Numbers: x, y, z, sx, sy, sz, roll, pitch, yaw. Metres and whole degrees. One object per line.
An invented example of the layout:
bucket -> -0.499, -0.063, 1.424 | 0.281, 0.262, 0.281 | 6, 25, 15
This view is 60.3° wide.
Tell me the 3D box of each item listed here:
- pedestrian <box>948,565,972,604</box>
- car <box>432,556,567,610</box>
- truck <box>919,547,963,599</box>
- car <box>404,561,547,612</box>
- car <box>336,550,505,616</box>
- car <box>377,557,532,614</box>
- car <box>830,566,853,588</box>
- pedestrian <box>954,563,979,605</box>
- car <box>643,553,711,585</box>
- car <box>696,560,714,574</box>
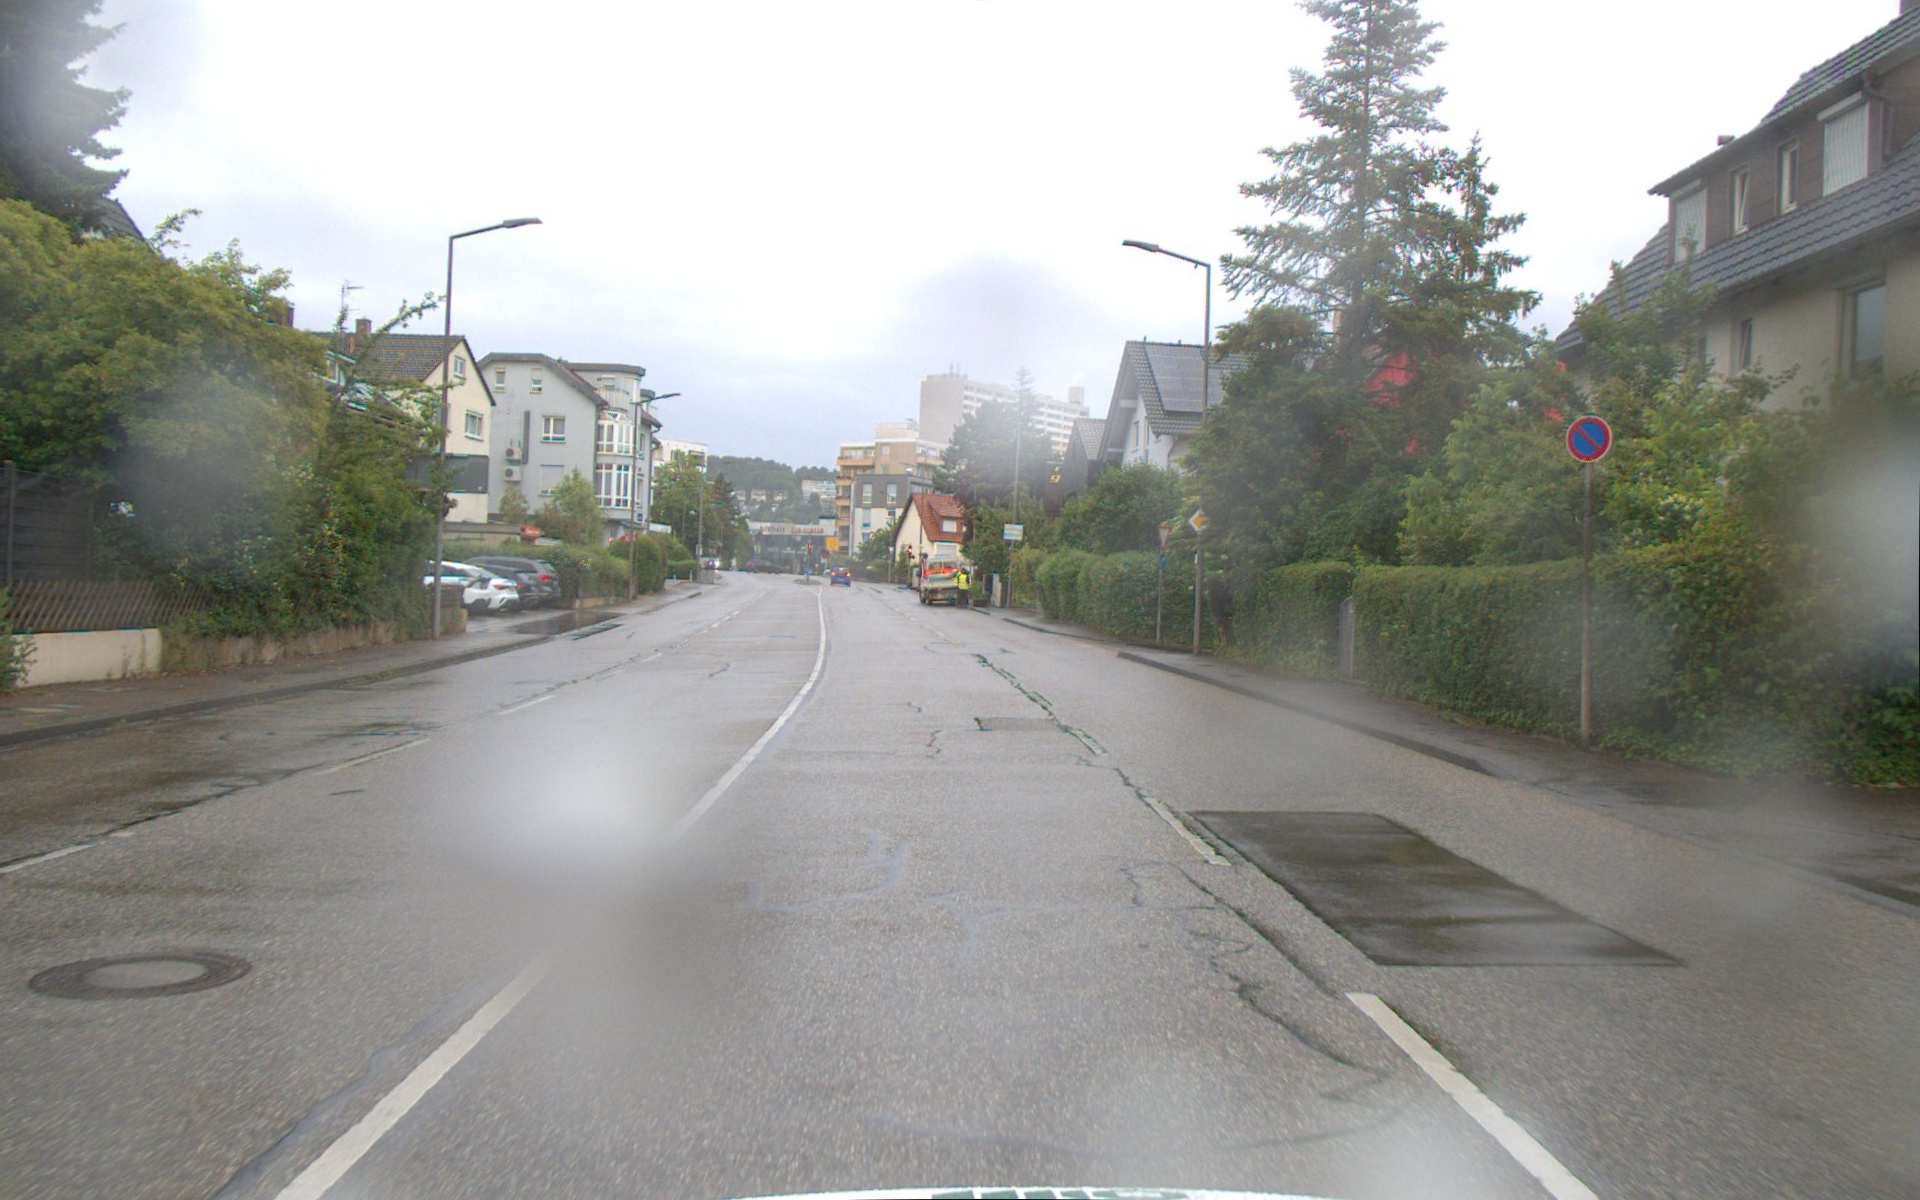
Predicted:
pedestrian -> 0.014, -0.701, 74.200 | 0.811, 1.756, 0.836 | 1, 1, -22
car -> -15.354, -0.554, 55.265 | 3.903, 1.716, 1.810 | 1, 0, 4
truck -> -0.891, -1.256, 78.012 | 1.953, 2.343, 4.000 | 1, 1, -1
car -> -15.013, -0.413, 51.382 | 3.904, 1.471, 1.706 | 1, 0, 3
car -> -15.096, -0.468, 46.471 | 4.015, 1.612, 1.957 | 3, 0, 0
car -> -14.997, -0.442, 49.206 | 3.905, 1.459, 1.971 | 3, 1, 2
car -> -9.509, -1.855, 133.116 | 1.758, 1.699, 3.998 | 2, 0, -3
pedestrian -> 0.286, -0.717, 73.320 | 0.811, 1.828, 0.795 | 1, 1, -23
car -> -20.698, -2.266, 121.067 | 4.426, 2.048, 2.002 | 3, 1, 10
car -> -29.138, -3.773, 189.154 | 1.627, 1.488, 3.997 | 2, 0, -4
